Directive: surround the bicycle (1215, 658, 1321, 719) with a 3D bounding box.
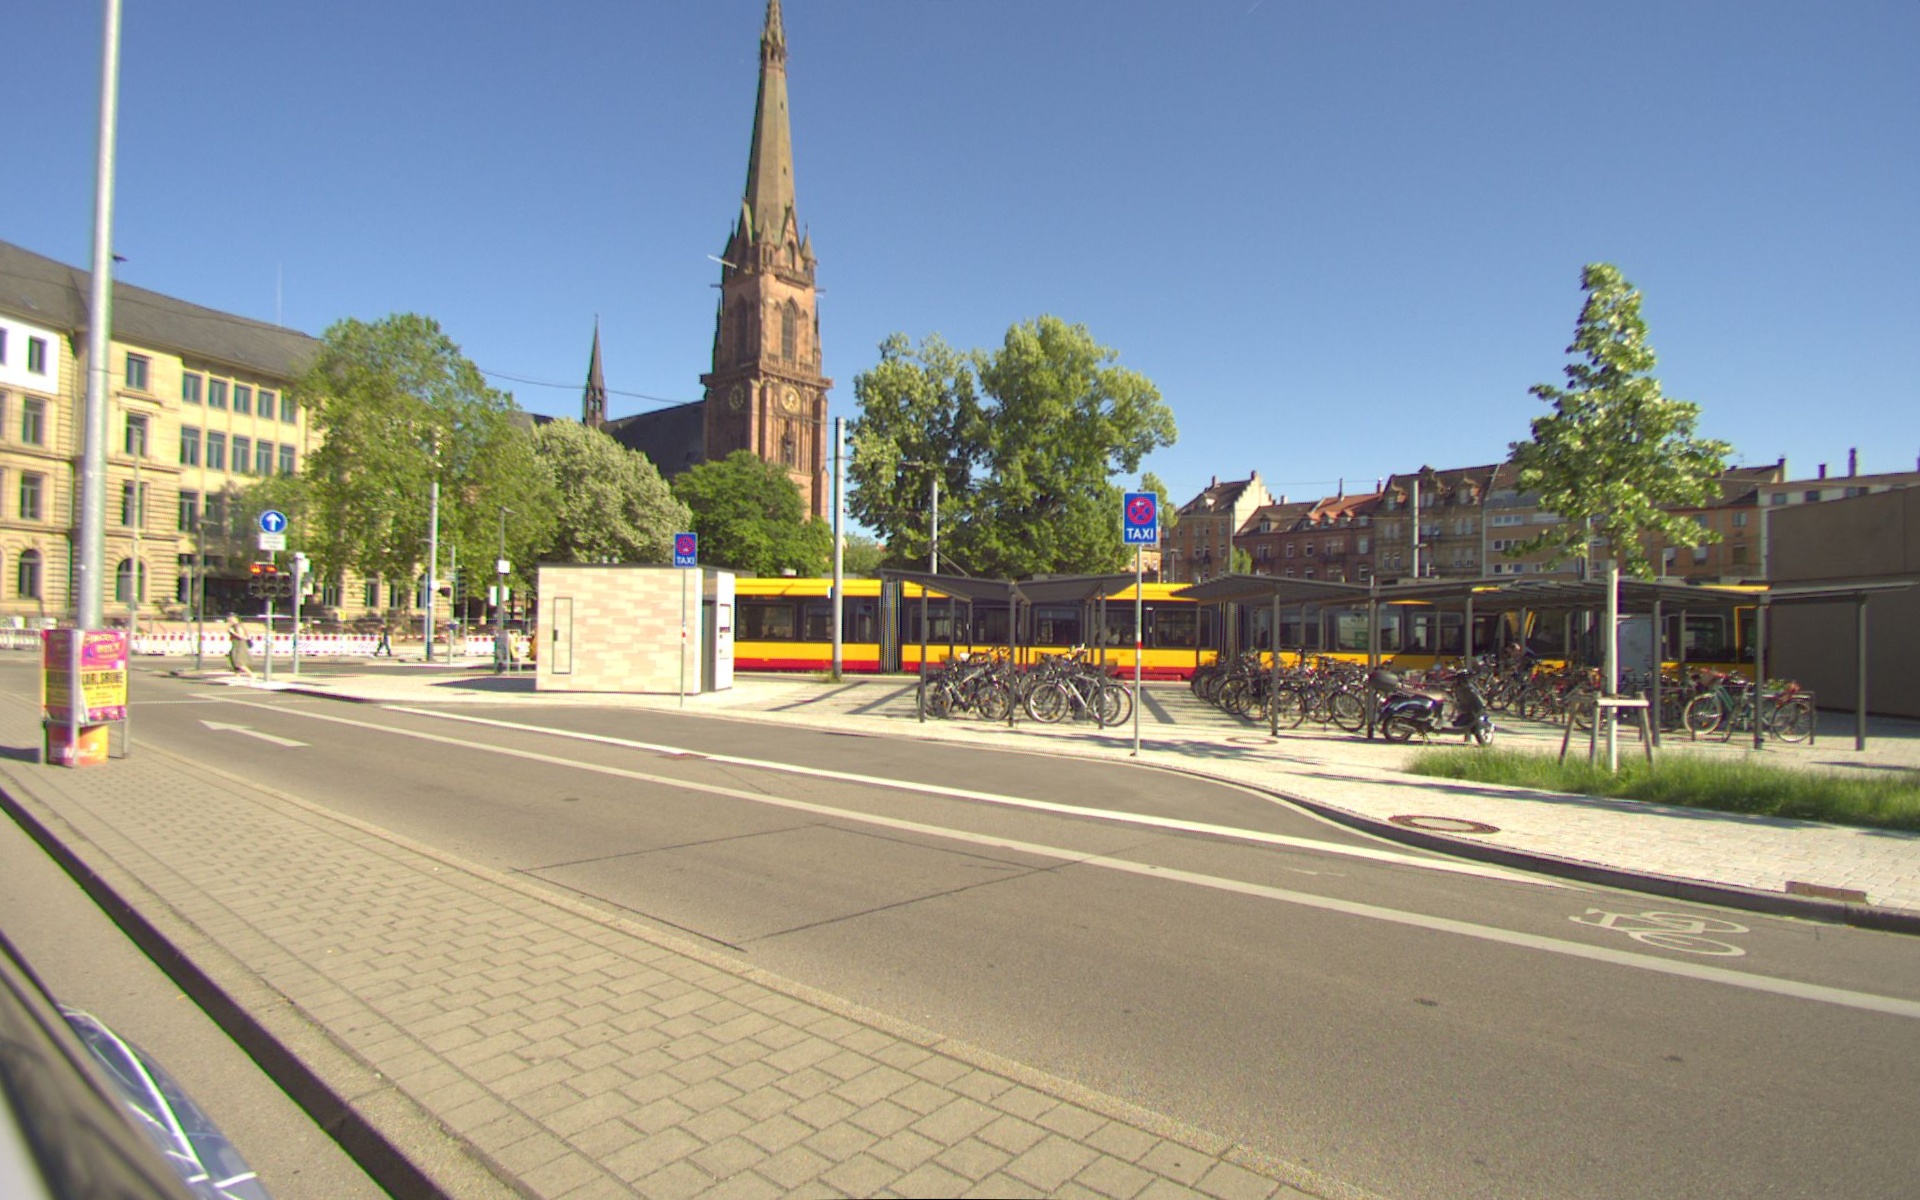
[{"bbox_3d":[5.877,1.686,19.415,1.859,1.101,0.626,0,-2,8],"label":"bicycle"}]

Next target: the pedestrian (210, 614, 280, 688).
[{"bbox_3d":[-18.416,1.298,26.075,0.825,1.869,1.215,-1,-2,34],"label":"pedestrian"}]

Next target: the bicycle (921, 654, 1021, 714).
[{"bbox_3d":[0.213,1.548,18.770,1.809,1.059,0.571,0,-2,9],"label":"bicycle"}]

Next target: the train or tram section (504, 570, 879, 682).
[{"bbox_3d":[-9.167,0.866,35.126,12.382,3.628,2.796,0,-2,6],"label":"train or tram section"}]

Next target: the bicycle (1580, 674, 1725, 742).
[{"bbox_3d":[11.159,1.726,16.353,1.809,1.015,0.627,0,-2,9],"label":"bicycle"}]

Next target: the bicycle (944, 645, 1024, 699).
[{"bbox_3d":[0.562,1.651,23.420,1.809,1.188,0.627,0,-2,9],"label":"bicycle"}]

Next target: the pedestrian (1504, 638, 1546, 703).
[{"bbox_3d":[14.870,1.841,26.628,0.762,1.672,0.604,0,-2,4],"label":"pedestrian"}]

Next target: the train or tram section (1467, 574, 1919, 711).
[{"bbox_3d":[21.347,1.155,28.708,12.179,3.628,2.748,0,-2,7],"label":"train or tram section"}]

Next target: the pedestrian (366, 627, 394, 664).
[{"bbox_3d":[-28.522,2.232,49.773,0.920,1.754,0.807,1,-2,-8],"label":"pedestrian"}]

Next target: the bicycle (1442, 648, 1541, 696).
[{"bbox_3d":[11.688,1.581,22.311,1.809,1.015,0.627,0,-2,9],"label":"bicycle"}]

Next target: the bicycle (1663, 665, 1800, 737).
[{"bbox_3d":[12.991,1.692,17.069,1.805,1.155,0.629,0,-2,0],"label":"bicycle"}]

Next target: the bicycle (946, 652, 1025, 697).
[{"bbox_3d":[0.620,1.754,24.119,1.809,1.015,0.627,0,-2,9],"label":"bicycle"}]

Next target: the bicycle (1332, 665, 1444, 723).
[{"bbox_3d":[8.001,1.753,18.975,1.808,1.015,0.627,0,-2,7],"label":"bicycle"}]

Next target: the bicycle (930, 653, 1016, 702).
[{"bbox_3d":[0.290,1.695,22.176,1.809,1.015,0.627,0,-2,9],"label":"bicycle"}]

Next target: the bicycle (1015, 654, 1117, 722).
[{"bbox_3d":[1.910,1.581,18.281,1.808,1.157,0.627,0,-2,7],"label":"bicycle"}]

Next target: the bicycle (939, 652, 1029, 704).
[{"bbox_3d":[0.513,1.619,21.145,1.809,1.015,0.627,0,-2,9],"label":"bicycle"}]

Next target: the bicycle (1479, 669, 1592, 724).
[{"bbox_3d":[11.262,1.877,19.845,1.809,1.015,0.627,0,-2,9],"label":"bicycle"}]

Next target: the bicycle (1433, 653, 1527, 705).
[{"bbox_3d":[12.001,1.818,23.407,1.809,1.140,0.627,0,-2,9],"label":"bicycle"}]

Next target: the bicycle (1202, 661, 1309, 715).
[{"bbox_3d":[5.949,1.765,20.436,1.978,1.015,0.628,0,-2,4],"label":"bicycle"}]

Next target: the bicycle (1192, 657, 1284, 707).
[{"bbox_3d":[5.970,1.761,21.810,1.805,1.015,0.629,0,-2,0],"label":"bicycle"}]

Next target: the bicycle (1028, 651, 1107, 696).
[{"bbox_3d":[2.511,1.707,23.614,1.808,1.015,0.627,0,-2,7],"label":"bicycle"}]

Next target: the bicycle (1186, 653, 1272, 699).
[{"bbox_3d":[6.122,1.725,23.115,1.807,1.015,0.628,0,-2,5],"label":"bicycle"}]

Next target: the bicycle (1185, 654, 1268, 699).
[{"bbox_3d":[6.252,1.790,23.803,1.808,1.015,0.627,0,-2,6],"label":"bicycle"}]

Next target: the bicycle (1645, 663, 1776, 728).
[{"bbox_3d":[13.591,1.721,18.364,1.808,1.101,0.627,0,-2,7],"label":"bicycle"}]

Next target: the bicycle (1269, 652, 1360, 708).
[{"bbox_3d":[7.929,1.771,22.683,1.808,1.198,0.647,0,-2,7],"label":"bicycle"}]

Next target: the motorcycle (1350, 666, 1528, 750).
[{"bbox_3d":[7.168,1.608,15.238,2.333,1.167,0.610,0,-2,7],"label":"motorcycle"}]

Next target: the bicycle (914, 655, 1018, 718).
[{"bbox_3d":[0.116,1.542,18.242,1.809,1.074,0.627,0,-2,9],"label":"bicycle"}]

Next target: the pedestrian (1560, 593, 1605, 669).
[{"bbox_3d":[15.620,0.771,25.411,0.700,1.869,0.751,2,-2,-38],"label":"pedestrian"}]

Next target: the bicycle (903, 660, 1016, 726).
[{"bbox_3d":[0.007,1.587,17.380,1.847,1.015,0.699,2,-2,9],"label":"bicycle"}]

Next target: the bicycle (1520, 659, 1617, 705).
[{"bbox_3d":[14.053,1.885,23.410,1.808,1.015,0.627,0,-2,7],"label":"bicycle"}]

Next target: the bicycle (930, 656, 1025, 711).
[{"bbox_3d":[0.361,1.639,19.989,1.809,1.015,0.627,0,-2,9],"label":"bicycle"}]

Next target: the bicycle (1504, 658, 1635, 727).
[{"bbox_3d":[11.298,1.707,18.805,2.029,1.218,0.505,0,-2,8],"label":"bicycle"}]

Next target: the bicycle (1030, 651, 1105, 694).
[{"bbox_3d":[2.633,1.762,24.814,1.808,1.015,0.627,0,-2,7],"label":"bicycle"}]

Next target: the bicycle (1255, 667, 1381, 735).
[{"bbox_3d":[5.978,1.680,16.983,1.871,1.050,0.688,0,-2,9],"label":"bicycle"}]

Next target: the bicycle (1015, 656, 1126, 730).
[{"bbox_3d":[1.865,1.560,17.138,1.808,1.167,0.627,1,-2,7],"label":"bicycle"}]

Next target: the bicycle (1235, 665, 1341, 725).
[{"bbox_3d":[5.853,1.689,18.137,1.731,1.015,0.547,0,-2,10],"label":"bicycle"}]

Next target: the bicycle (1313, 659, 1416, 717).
[{"bbox_3d":[8.075,1.751,20.267,1.808,1.088,0.627,0,-2,7],"label":"bicycle"}]

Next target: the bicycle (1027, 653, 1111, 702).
[{"bbox_3d":[2.378,1.691,22.128,1.808,1.015,0.627,0,-2,7],"label":"bicycle"}]

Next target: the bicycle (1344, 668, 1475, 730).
[{"bbox_3d":[7.920,1.734,17.881,2.003,1.015,0.627,0,-2,7],"label":"bicycle"}]

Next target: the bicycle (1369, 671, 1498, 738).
[{"bbox_3d":[7.768,1.708,16.655,1.808,1.015,0.627,0,-2,7],"label":"bicycle"}]

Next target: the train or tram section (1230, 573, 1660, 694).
[{"bbox_3d":[15.163,1.027,32.563,12.174,3.628,2.828,0,-2,6],"label":"train or tram section"}]

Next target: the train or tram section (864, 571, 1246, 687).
[{"bbox_3d":[3.041,0.922,33.845,12.174,3.628,2.796,0,-2,6],"label":"train or tram section"}]

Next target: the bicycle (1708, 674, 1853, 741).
[{"bbox_3d":[13.020,1.699,16.081,1.803,1.015,0.629,1,-2,-3],"label":"bicycle"}]

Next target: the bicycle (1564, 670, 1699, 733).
[{"bbox_3d":[11.603,1.746,17.530,1.872,1.004,0.499,0,-2,13],"label":"bicycle"}]

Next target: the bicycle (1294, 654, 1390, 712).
[{"bbox_3d":[8.111,1.750,21.532,1.808,1.170,0.627,0,-2,7],"label":"bicycle"}]

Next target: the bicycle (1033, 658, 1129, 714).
[{"bbox_3d":[2.321,1.639,19.546,1.808,1.015,0.745,0,-2,7],"label":"bicycle"}]

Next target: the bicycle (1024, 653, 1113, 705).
[{"bbox_3d":[2.229,1.613,20.853,1.808,1.015,0.627,0,-2,7],"label":"bicycle"}]

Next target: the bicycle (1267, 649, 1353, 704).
[{"bbox_3d":[8.237,1.789,23.881,1.808,1.242,0.627,0,-2,7],"label":"bicycle"}]
